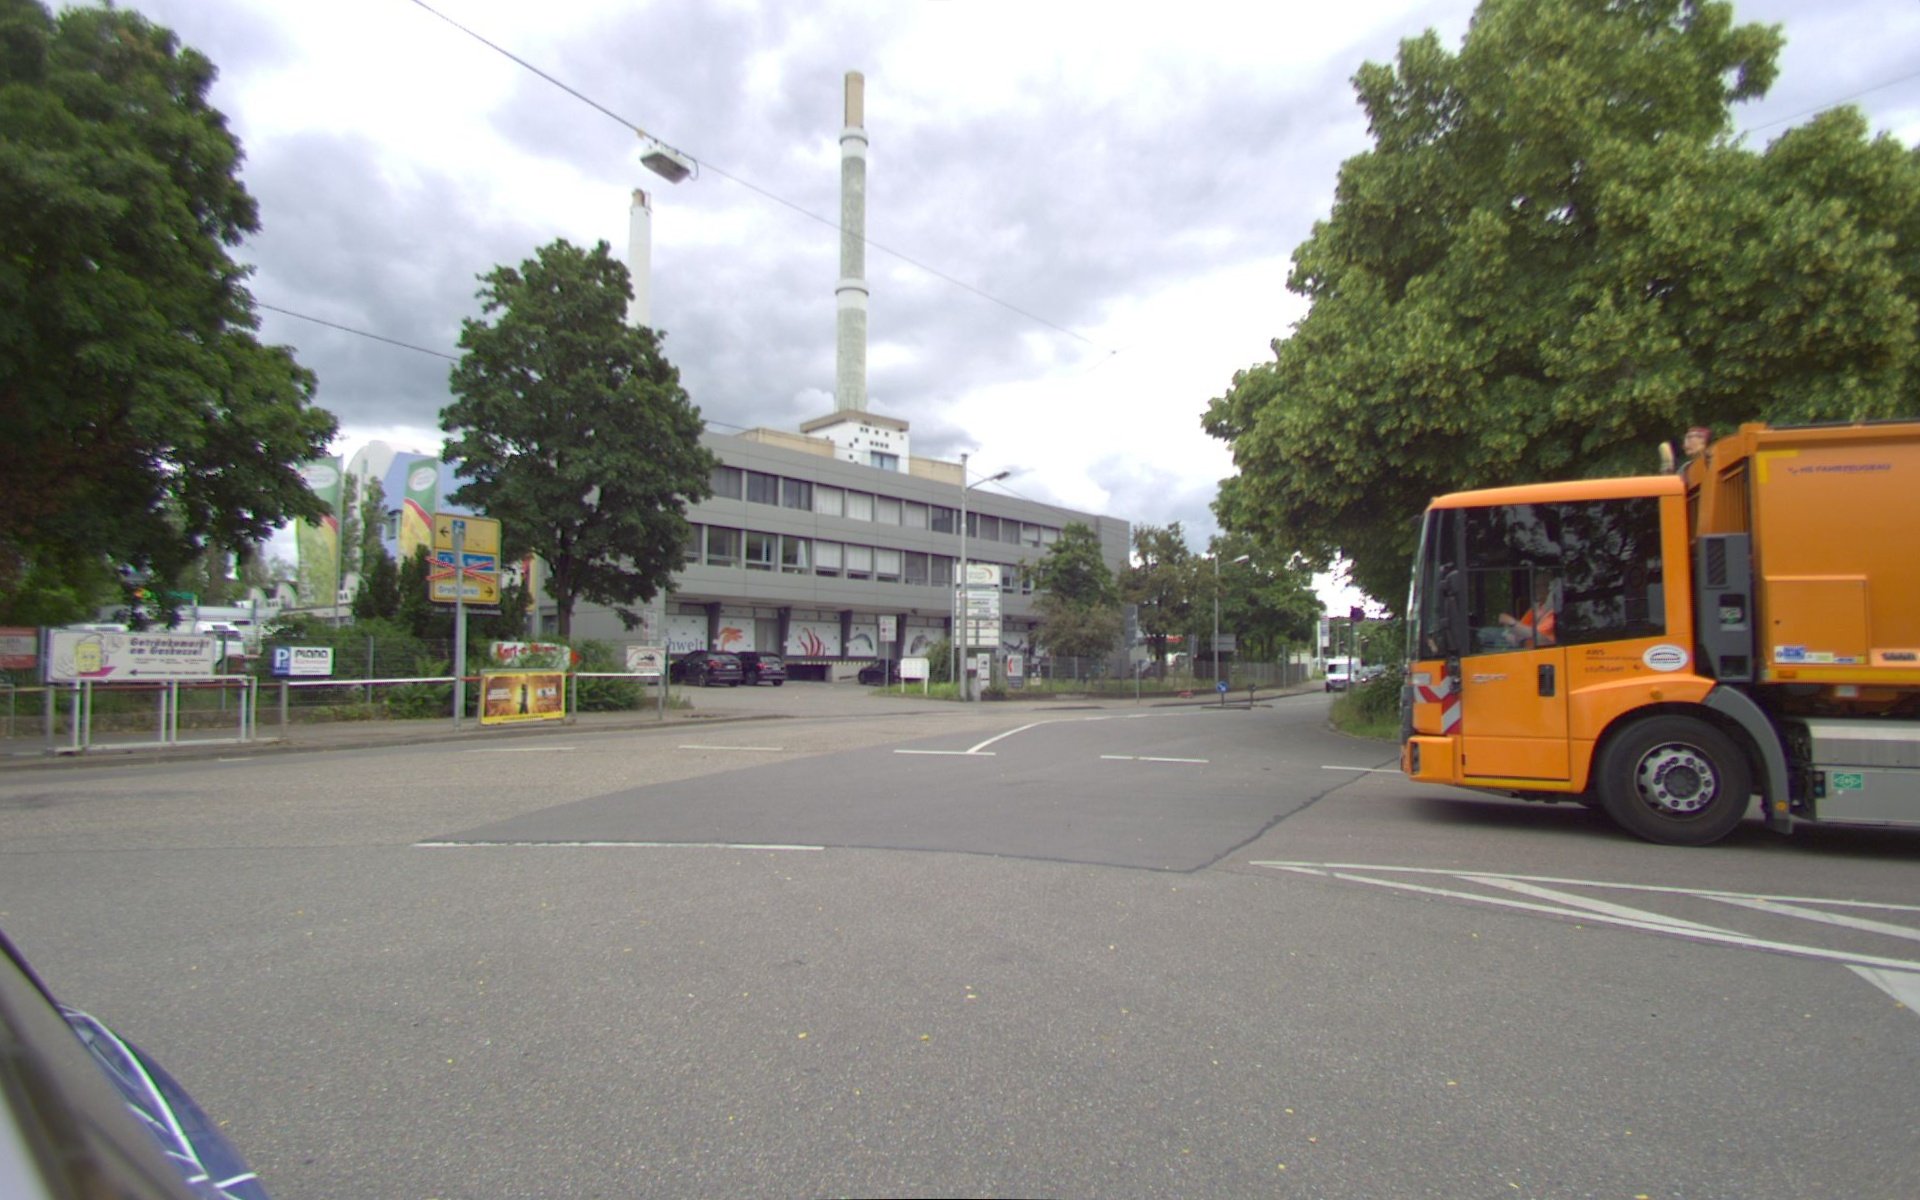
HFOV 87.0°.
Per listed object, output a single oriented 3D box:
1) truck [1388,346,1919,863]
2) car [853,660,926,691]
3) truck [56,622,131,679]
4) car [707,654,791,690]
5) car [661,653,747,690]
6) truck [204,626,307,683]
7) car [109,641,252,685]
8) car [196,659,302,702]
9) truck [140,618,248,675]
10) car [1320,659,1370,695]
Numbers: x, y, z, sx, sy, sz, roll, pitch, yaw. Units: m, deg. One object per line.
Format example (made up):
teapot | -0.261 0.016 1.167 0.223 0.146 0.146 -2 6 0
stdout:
truck | 8.879 -0.001 7.487 10.354 3.554 2.776 -2 -3 23
car | -3.883 4.088 55.141 2.015 1.456 4.843 2 -3 -30
truck | -67.470 4.006 78.736 9.183 4.198 2.959 -3 -5 41
car | -10.513 3.543 50.321 4.422 1.630 1.813 -2 -4 42
car | -12.242 3.400 48.247 4.465 1.630 1.813 -2 -4 43
truck | -55.507 4.379 79.422 15.843 4.056 2.833 -3 -6 41
car | -50.952 4.184 66.348 2.242 2.754 7.056 -3 -6 41
car | -22.236 2.510 31.611 3.696 1.258 1.687 -3 -5 38
truck | -57.837 3.645 76.154 15.714 3.964 2.814 -3 -5 40
car | 28.251 5.628 74.169 2.380 2.478 6.037 -3 -5 30
